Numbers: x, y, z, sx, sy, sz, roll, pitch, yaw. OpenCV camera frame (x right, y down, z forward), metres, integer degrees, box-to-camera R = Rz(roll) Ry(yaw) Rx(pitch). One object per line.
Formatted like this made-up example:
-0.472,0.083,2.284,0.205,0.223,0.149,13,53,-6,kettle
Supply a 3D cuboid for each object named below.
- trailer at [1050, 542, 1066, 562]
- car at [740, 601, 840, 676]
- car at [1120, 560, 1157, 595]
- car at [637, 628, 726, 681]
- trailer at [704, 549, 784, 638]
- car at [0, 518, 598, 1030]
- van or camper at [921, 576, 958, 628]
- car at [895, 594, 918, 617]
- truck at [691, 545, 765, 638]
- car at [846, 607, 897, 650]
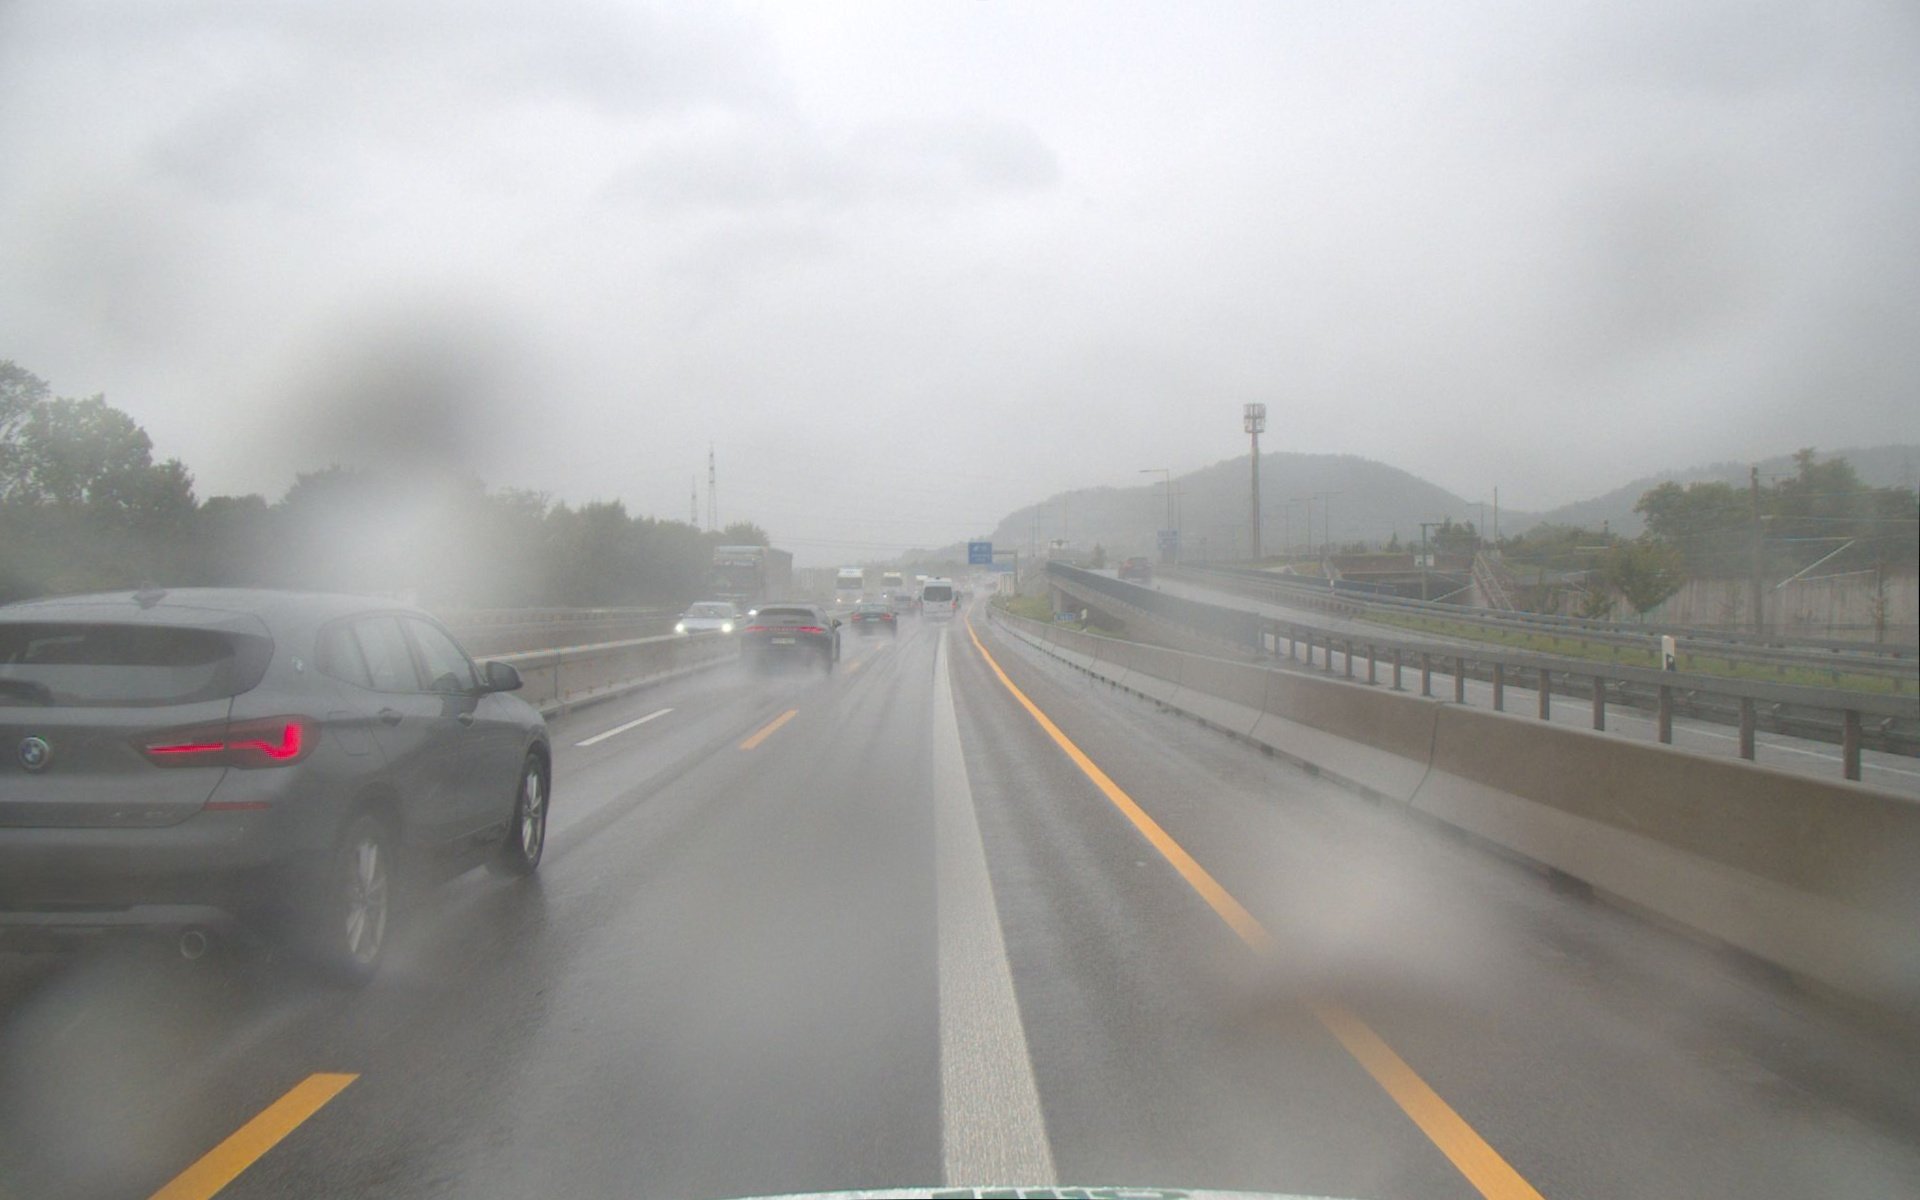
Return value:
13.672,-6.729,232.092,1.952,2.143,13.771,0,-1,2,trailer
-3.614,0.813,35.786,1.807,1.517,4.260,1,-1,-1,car
11.876,-1.491,110.453,1.953,2.180,3.999,1,-1,-1,car
-8.536,1.641,51.163,1.996,1.533,4.719,1,-1,-1,car
-10.923,-0.224,84.811,2.596,4.181,12.312,1,-1,-1,trailer
-2.999,0.571,7.683,1.666,1.626,4.843,0,0,-1,car
-1.165,0.123,91.913,1.956,2.826,4.048,1,-1,-1,van or camper
-3.784,0.392,117.638,1.535,1.506,2.821,-2,-1,-1,car
-10.873,-0.331,78.031,2.588,4.199,6.694,1,-1,-1,truck
-3.436,1.096,64.999,1.807,1.517,4.260,-2,1,-1,car
